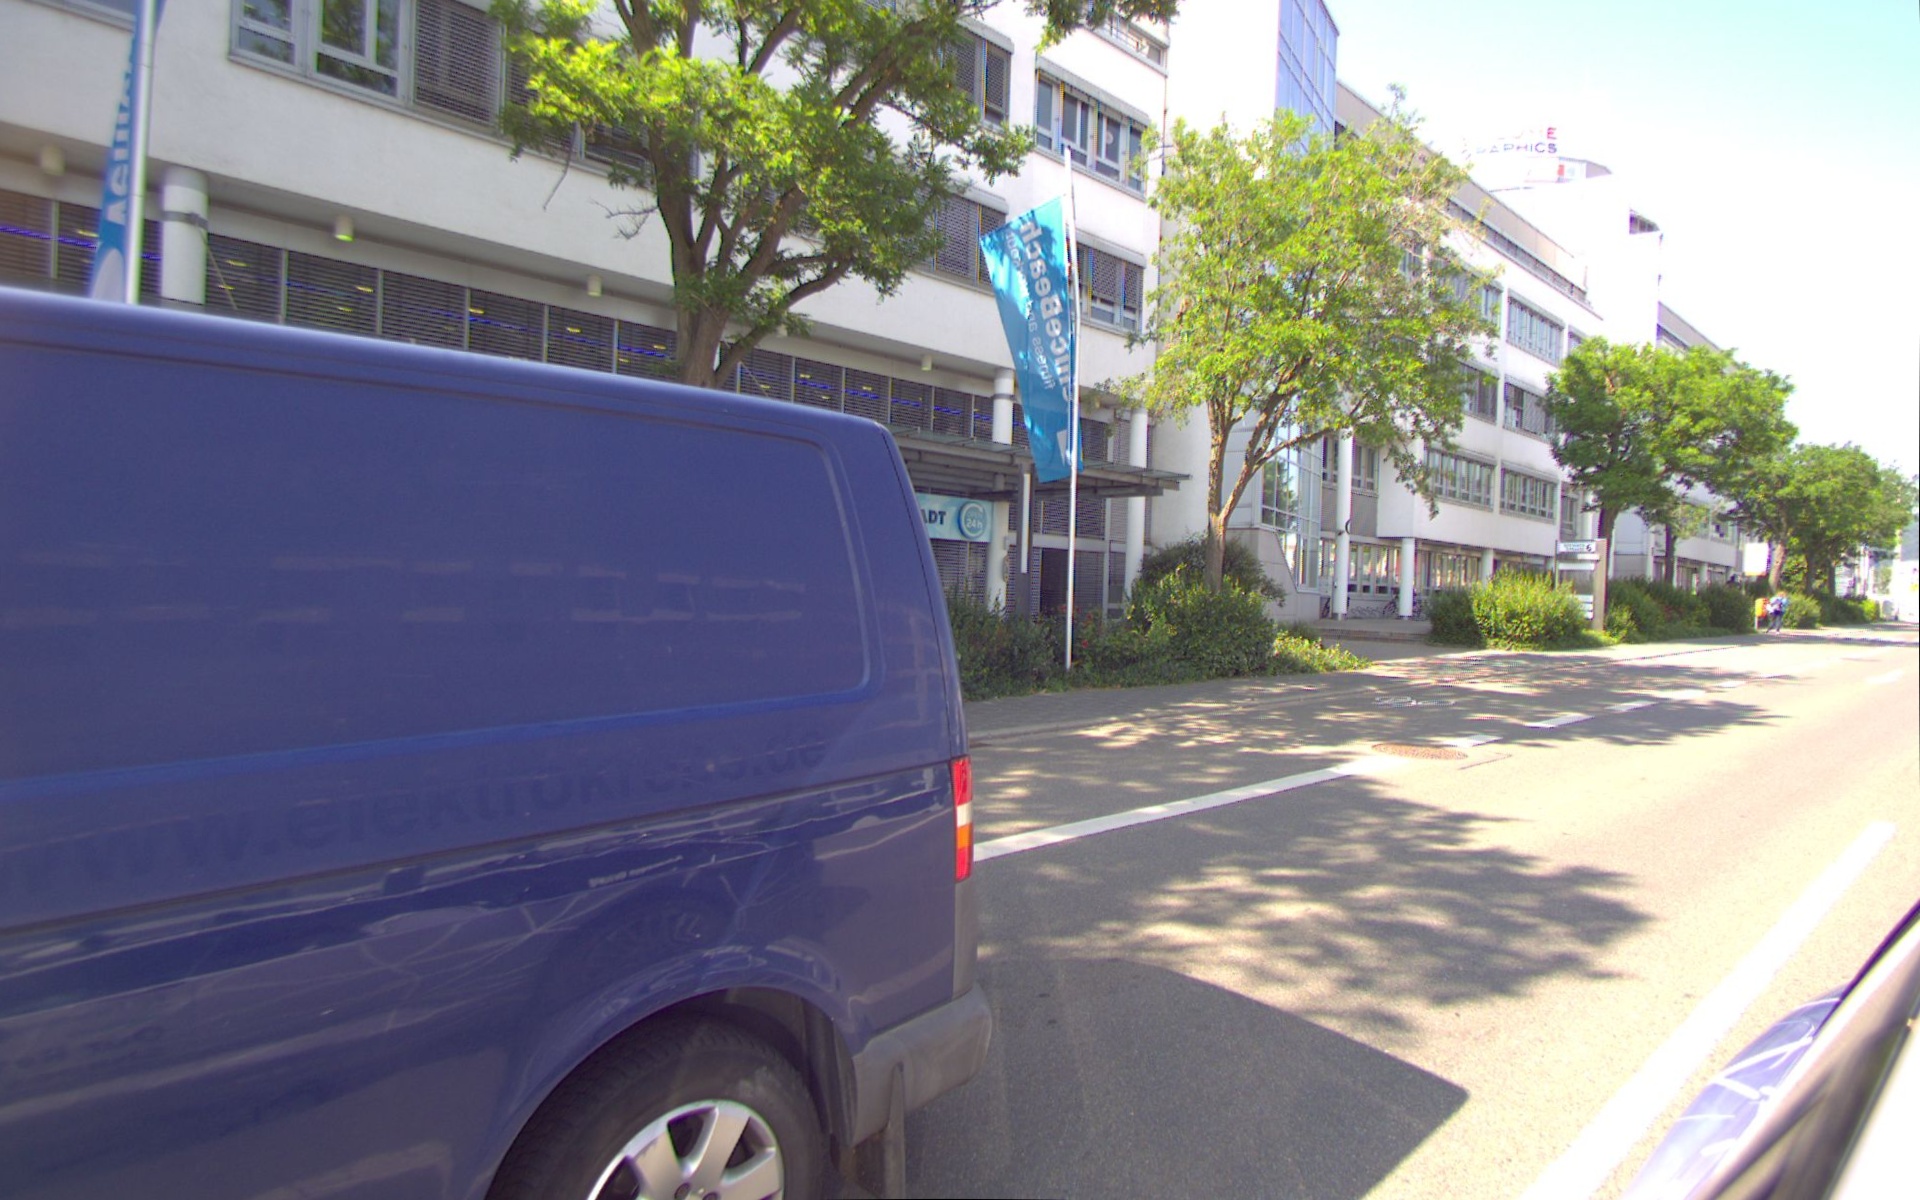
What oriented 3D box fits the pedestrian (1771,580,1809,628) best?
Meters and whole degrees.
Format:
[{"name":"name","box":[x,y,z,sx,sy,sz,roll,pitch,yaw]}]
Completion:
[{"name":"pedestrian","box":[35.209,0.159,42.926,1.267,1.909,0.942,0,4,-41]}]

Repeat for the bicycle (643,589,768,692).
[{"name":"bicycle","box":[-3.630,0.540,14.380,1.868,1.346,0.501,2,1,30]}]

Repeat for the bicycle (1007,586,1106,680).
[{"name":"bicycle","box":[1.517,0.480,15.622,0.504,1.346,1.856,2,1,41]}]

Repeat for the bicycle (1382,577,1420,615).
[{"name":"bicycle","box":[16.349,-0.142,37.514,1.852,1.371,0.506,0,1,-41]}]

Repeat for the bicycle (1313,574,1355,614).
[{"name":"bicycle","box":[12.908,-0.210,34.891,1.852,1.371,0.506,0,1,-41]}]

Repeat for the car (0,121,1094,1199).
[{"name":"car","box":[-2.143,0.408,1.618,4.806,1.972,1.997,-1,2,-41]}]
